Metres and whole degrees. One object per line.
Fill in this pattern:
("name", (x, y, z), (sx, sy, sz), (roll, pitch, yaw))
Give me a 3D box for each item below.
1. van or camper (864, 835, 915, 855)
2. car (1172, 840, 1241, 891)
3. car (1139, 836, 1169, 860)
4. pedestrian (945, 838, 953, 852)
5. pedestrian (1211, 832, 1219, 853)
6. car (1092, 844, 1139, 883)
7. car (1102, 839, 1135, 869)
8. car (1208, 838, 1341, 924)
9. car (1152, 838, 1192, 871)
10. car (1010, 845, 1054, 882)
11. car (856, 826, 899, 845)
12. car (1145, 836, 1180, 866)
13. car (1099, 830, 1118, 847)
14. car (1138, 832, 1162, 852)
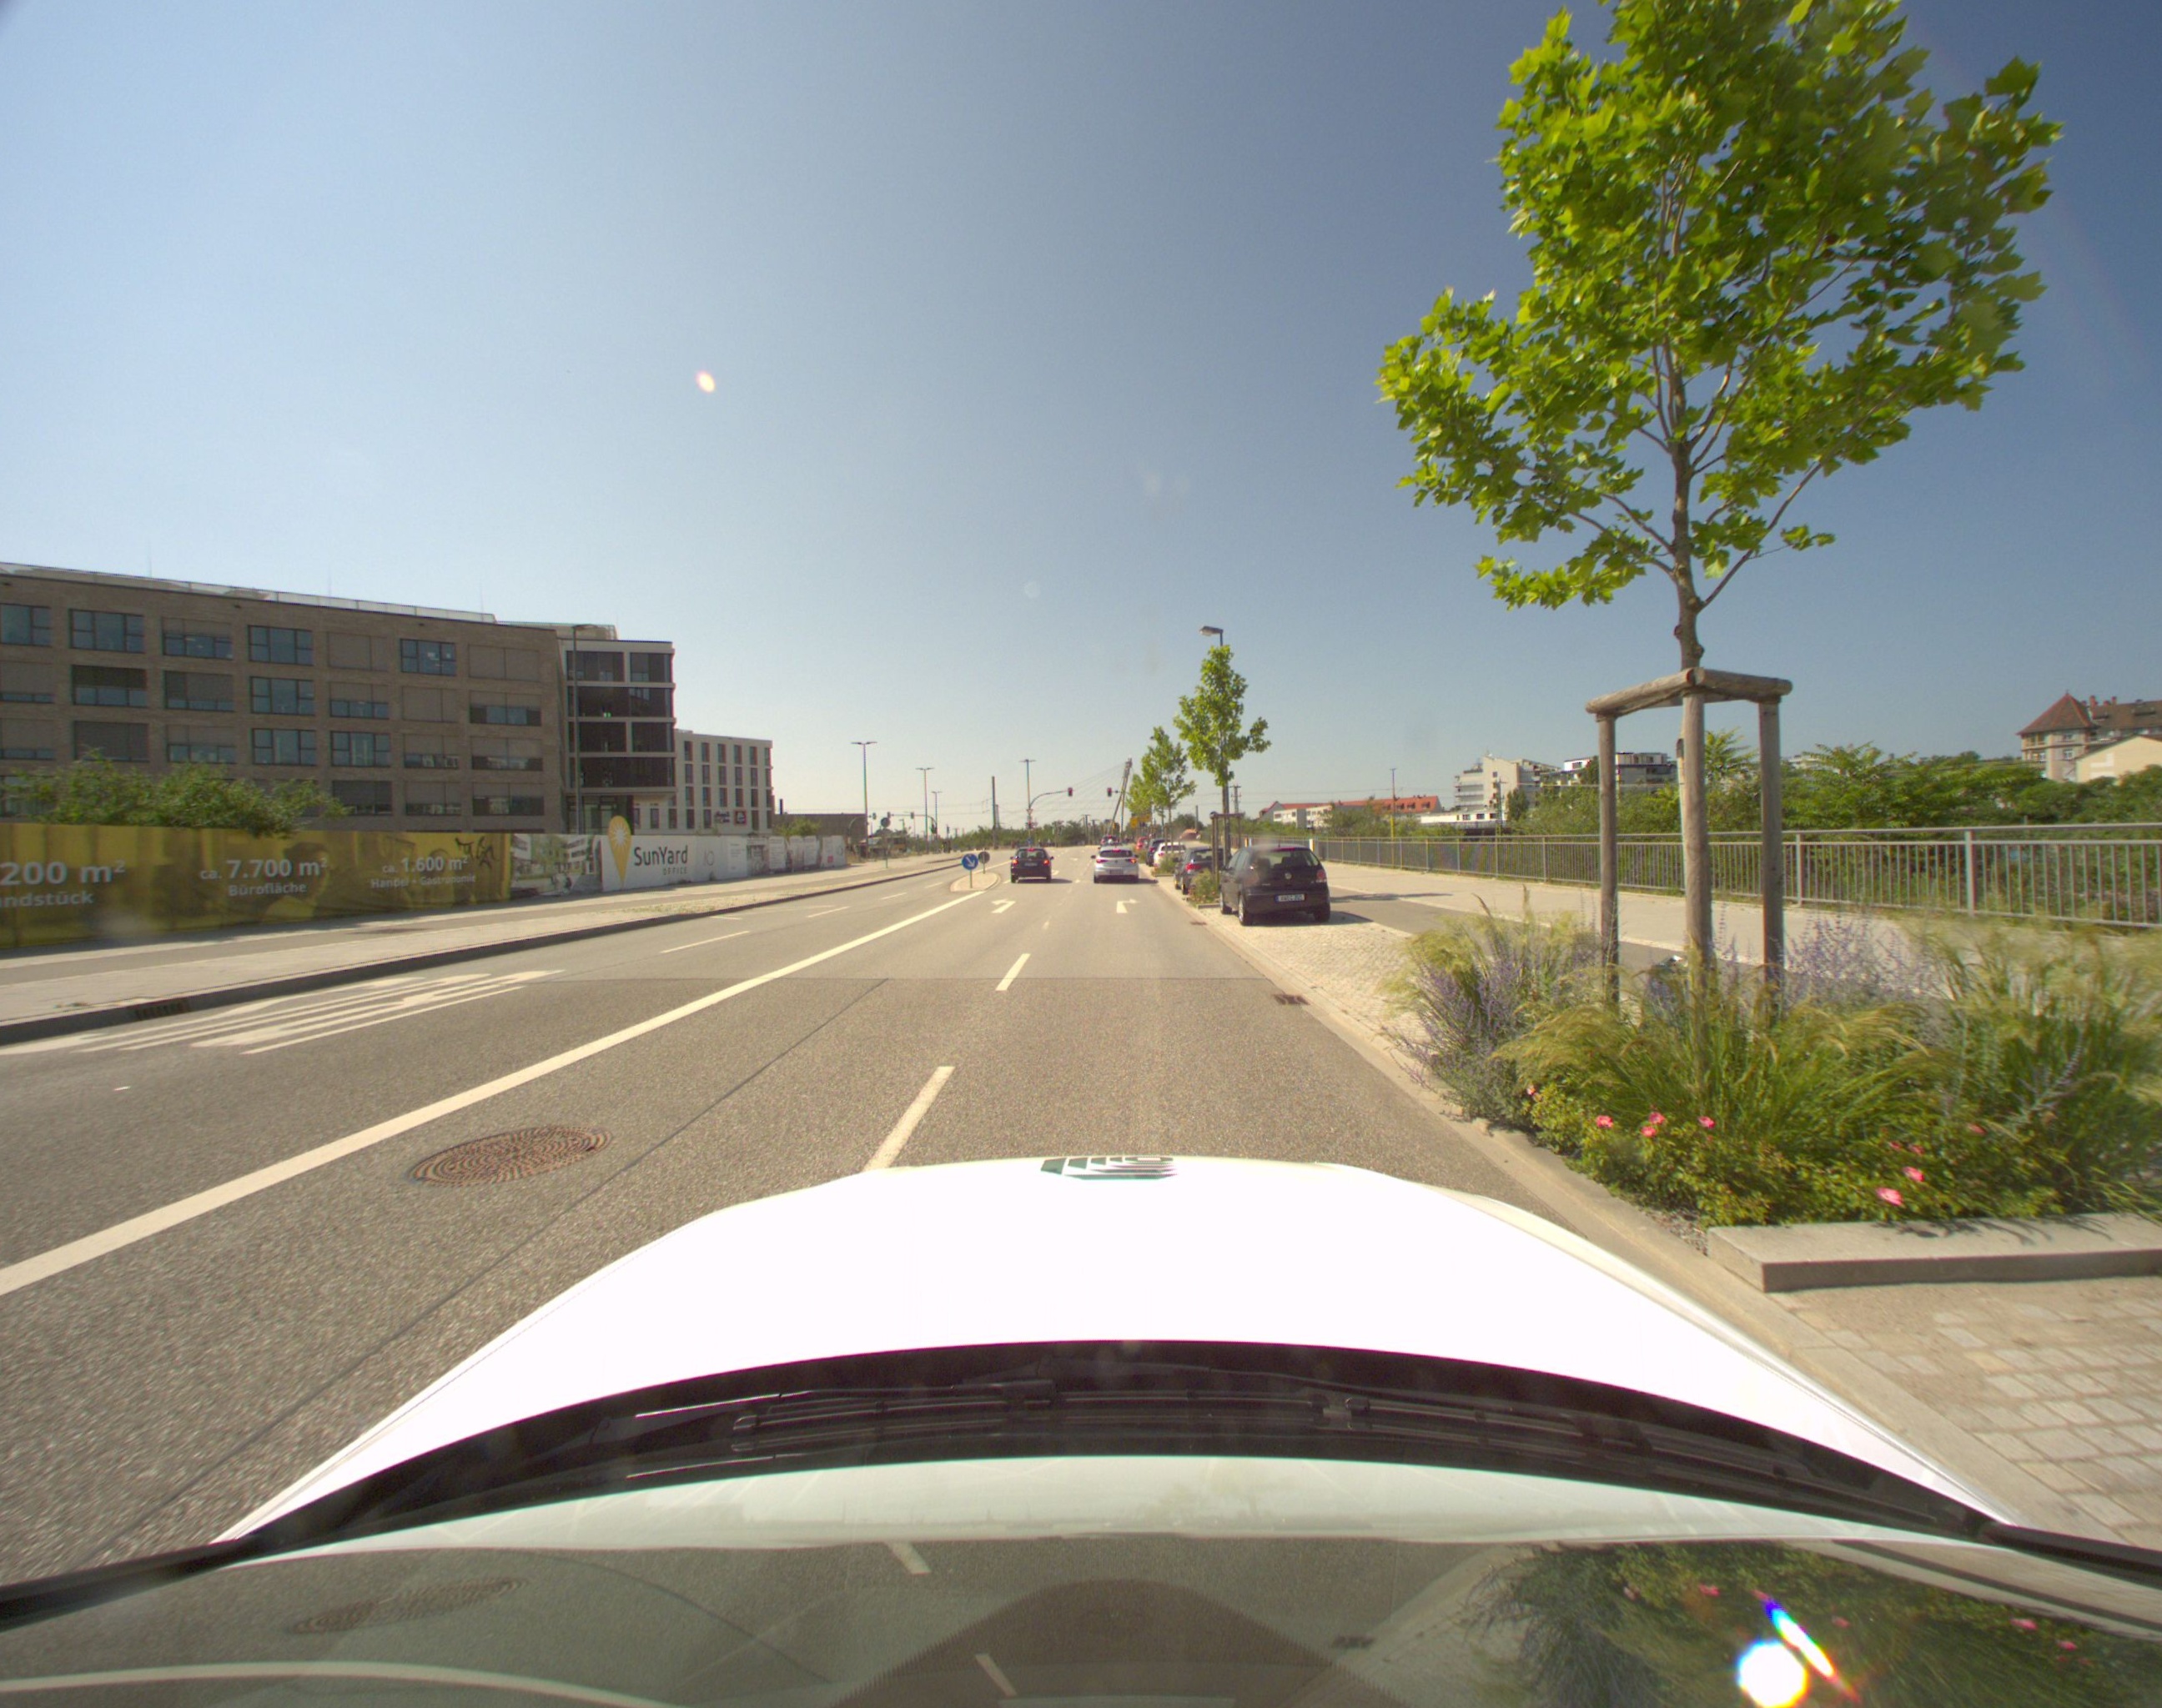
("van or camper", (-19.585, -0.890, 83.299), (1.975, 1.897, 4.745), (-1, -1, 44))
("car", (3.890, 0.339, 25.912), (1.697, 1.401, 4.273), (-3, 0, 3))
("car", (5.103, -0.426, 57.633), (1.771, 1.503, 4.002), (-6, 1, 2))
("pedestrian", (-15.315, -1.079, 94.576), (0.842, 1.646, 0.827), (-1, 1, -3))
("pedestrian", (10.203, -0.857, 62.063), (0.531, 1.575, 0.524), (0, -1, 2))
("car", (1.420, 0.347, 33.326), (1.771, 1.442, 4.002), (-1, 1, 2))
("car", (2.133, -0.036, 46.962), (1.771, 1.568, 4.003), (-2, 2, 2))
("car", (3.761, 0.500, 16.538), (1.699, 1.462, 3.953), (-3, -1, 0))
("car", (4.546, -0.015, 41.358), (1.690, 1.475, 4.208), (-3, 1, 3))
("car", (-2.000, 0.356, 33.909), (1.614, 1.416, 3.726), (-1, 1, -1))
("car", (-21.621, -1.988, 86.677), (1.974, 2.013, 4.025), (0, 1, 41))
("car", (4.754, -0.230, 48.017), (1.814, 1.616, 3.614), (-3, 1, 3))
("car", (2.688, -1.531, 79.532), (1.771, 1.568, 4.003), (-2, 2, 2))
("car", (5.588, -0.969, 66.352), (1.771, 1.503, 4.002), (-2, 1, 2))
